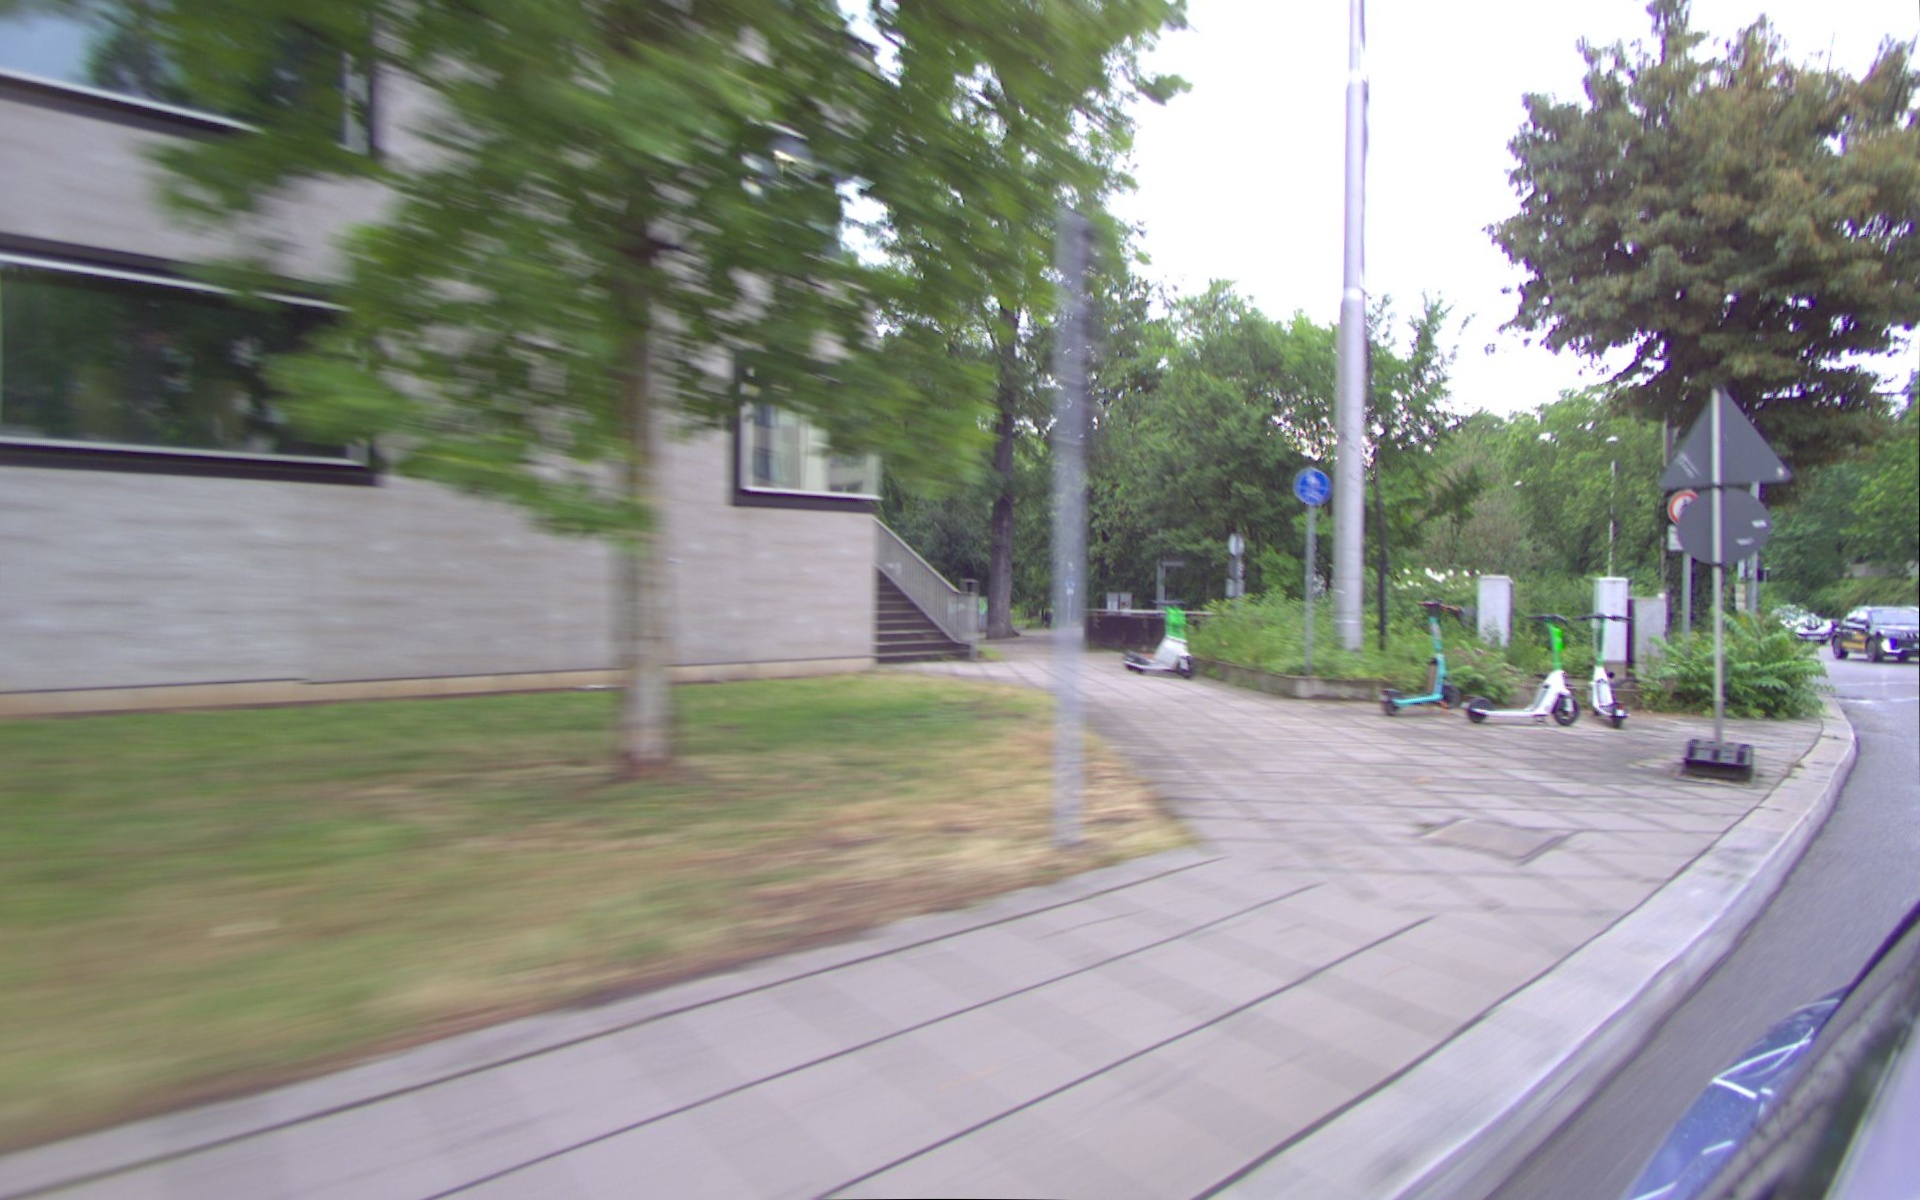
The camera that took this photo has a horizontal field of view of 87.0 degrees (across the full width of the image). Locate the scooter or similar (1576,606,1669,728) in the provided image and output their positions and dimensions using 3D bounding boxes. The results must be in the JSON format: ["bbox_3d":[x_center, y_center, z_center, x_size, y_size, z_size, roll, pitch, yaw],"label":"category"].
[{"bbox_3d":[7.039,0.660,10.813,0.631,1.142,1.579,2,2,27],"label":"scooter or similar"}]

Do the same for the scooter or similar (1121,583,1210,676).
[{"bbox_3d":[3.128,0.425,15.451,0.544,1.329,1.240,0,2,-40],"label":"scooter or similar"}]

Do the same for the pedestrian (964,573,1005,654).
[{"bbox_3d":[0.427,0.235,17.785,0.528,1.390,0.480,0,1,-38],"label":"pedestrian"}]

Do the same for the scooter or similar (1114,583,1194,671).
[{"bbox_3d":[3.111,0.412,16.311,0.463,1.329,1.240,0,2,-40],"label":"scooter or similar"}]

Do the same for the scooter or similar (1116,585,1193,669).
[{"bbox_3d":[3.245,0.434,16.976,0.463,1.329,1.240,0,2,-40],"label":"scooter or similar"}]

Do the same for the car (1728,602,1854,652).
[{"bbox_3d":[34.377,1.048,42.052,1.968,1.766,4.642,1,2,10],"label":"car"}]

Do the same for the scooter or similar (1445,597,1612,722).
[{"bbox_3d":[5.907,0.603,10.574,1.313,1.215,0.689,1,1,1],"label":"scooter or similar"}]

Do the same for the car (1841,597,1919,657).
[{"bbox_3d":[27.285,0.737,29.174,1.913,1.560,3.962,1,1,27],"label":"car"}]

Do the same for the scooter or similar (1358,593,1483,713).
[{"bbox_3d":[4.970,0.538,10.900,1.299,1.215,0.565,0,1,-31],"label":"scooter or similar"}]
